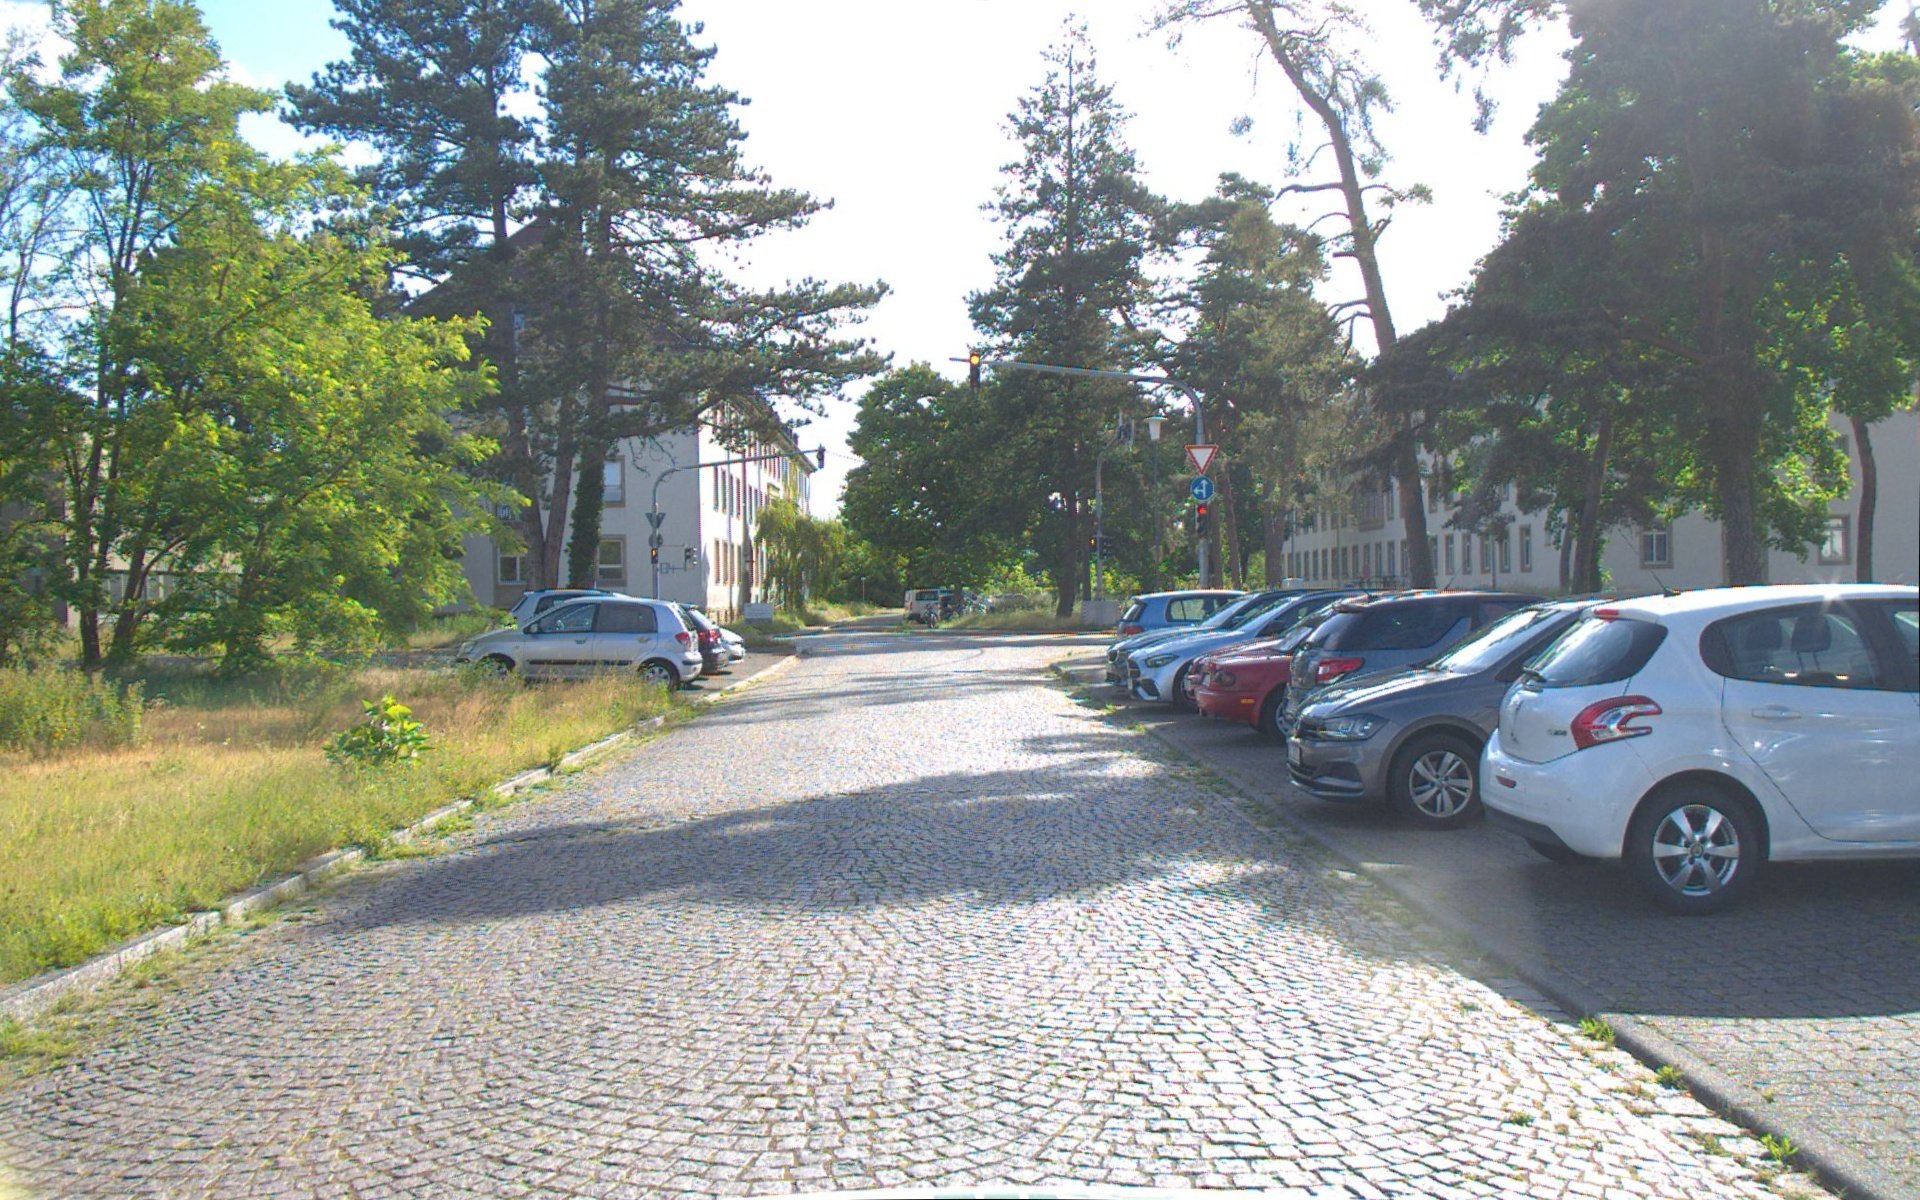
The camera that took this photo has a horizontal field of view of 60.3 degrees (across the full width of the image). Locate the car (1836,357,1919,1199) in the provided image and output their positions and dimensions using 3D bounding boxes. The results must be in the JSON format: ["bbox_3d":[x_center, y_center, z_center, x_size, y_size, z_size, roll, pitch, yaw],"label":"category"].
[{"bbox_3d":[4.538,0.421,3.227,4.585,2.049,2.082,-1,0,-4],"label":"car"}]

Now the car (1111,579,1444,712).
[{"bbox_3d":[4.073,0.559,21.540,3.955,1.556,1.644,-1,0,-5],"label":"car"}]

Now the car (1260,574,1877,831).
[{"bbox_3d":[4.051,0.643,11.389,3.602,1.492,1.644,-2,0,-3],"label":"car"}]

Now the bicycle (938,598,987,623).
[{"bbox_3d":[0.114,0.475,75.855,2.134,1.119,0.805,-1,0,-11],"label":"bicycle"}]

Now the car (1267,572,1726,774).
[{"bbox_3d":[4.546,0.587,14.320,3.408,1.556,1.645,-1,0,-3],"label":"car"}]

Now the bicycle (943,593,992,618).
[{"bbox_3d":[0.354,0.251,76.999,2.134,1.119,0.805,-1,0,-11],"label":"bicycle"}]

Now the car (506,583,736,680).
[{"bbox_3d":[-6.350,0.581,31.317,3.907,1.629,1.999,2,0,-2],"label":"car"}]

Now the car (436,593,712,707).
[{"bbox_3d":[-5.957,0.745,25.936,3.908,1.628,1.998,-1,0,-4],"label":"car"}]

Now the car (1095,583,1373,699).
[{"bbox_3d":[3.964,0.571,24.309,3.759,1.556,1.645,-1,0,-3],"label":"car"}]

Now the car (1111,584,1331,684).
[{"bbox_3d":[4.205,0.529,26.956,3.276,1.508,1.645,-1,0,-3],"label":"car"}]

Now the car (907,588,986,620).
[{"bbox_3d":[-0.752,0.205,93.308,4.390,1.758,1.999,-1,0,-2],"label":"car"}]

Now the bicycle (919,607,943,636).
[{"bbox_3d":[-1.277,0.945,72.360,0.789,1.190,2.177,-3,0,-7],"label":"bicycle"}]

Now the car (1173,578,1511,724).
[{"bbox_3d":[4.402,0.563,19.366,3.530,1.556,1.645,-1,0,-3],"label":"car"}]

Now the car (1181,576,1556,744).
[{"bbox_3d":[4.115,0.580,17.001,3.408,1.556,1.645,-1,0,-3],"label":"car"}]

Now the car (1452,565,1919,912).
[{"bbox_3d":[4.618,0.596,8.515,3.619,1.491,1.645,-3,0,-1],"label":"car"}]

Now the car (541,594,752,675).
[{"bbox_3d":[-6.330,0.672,33.719,3.906,1.478,1.999,2,0,-2],"label":"car"}]
